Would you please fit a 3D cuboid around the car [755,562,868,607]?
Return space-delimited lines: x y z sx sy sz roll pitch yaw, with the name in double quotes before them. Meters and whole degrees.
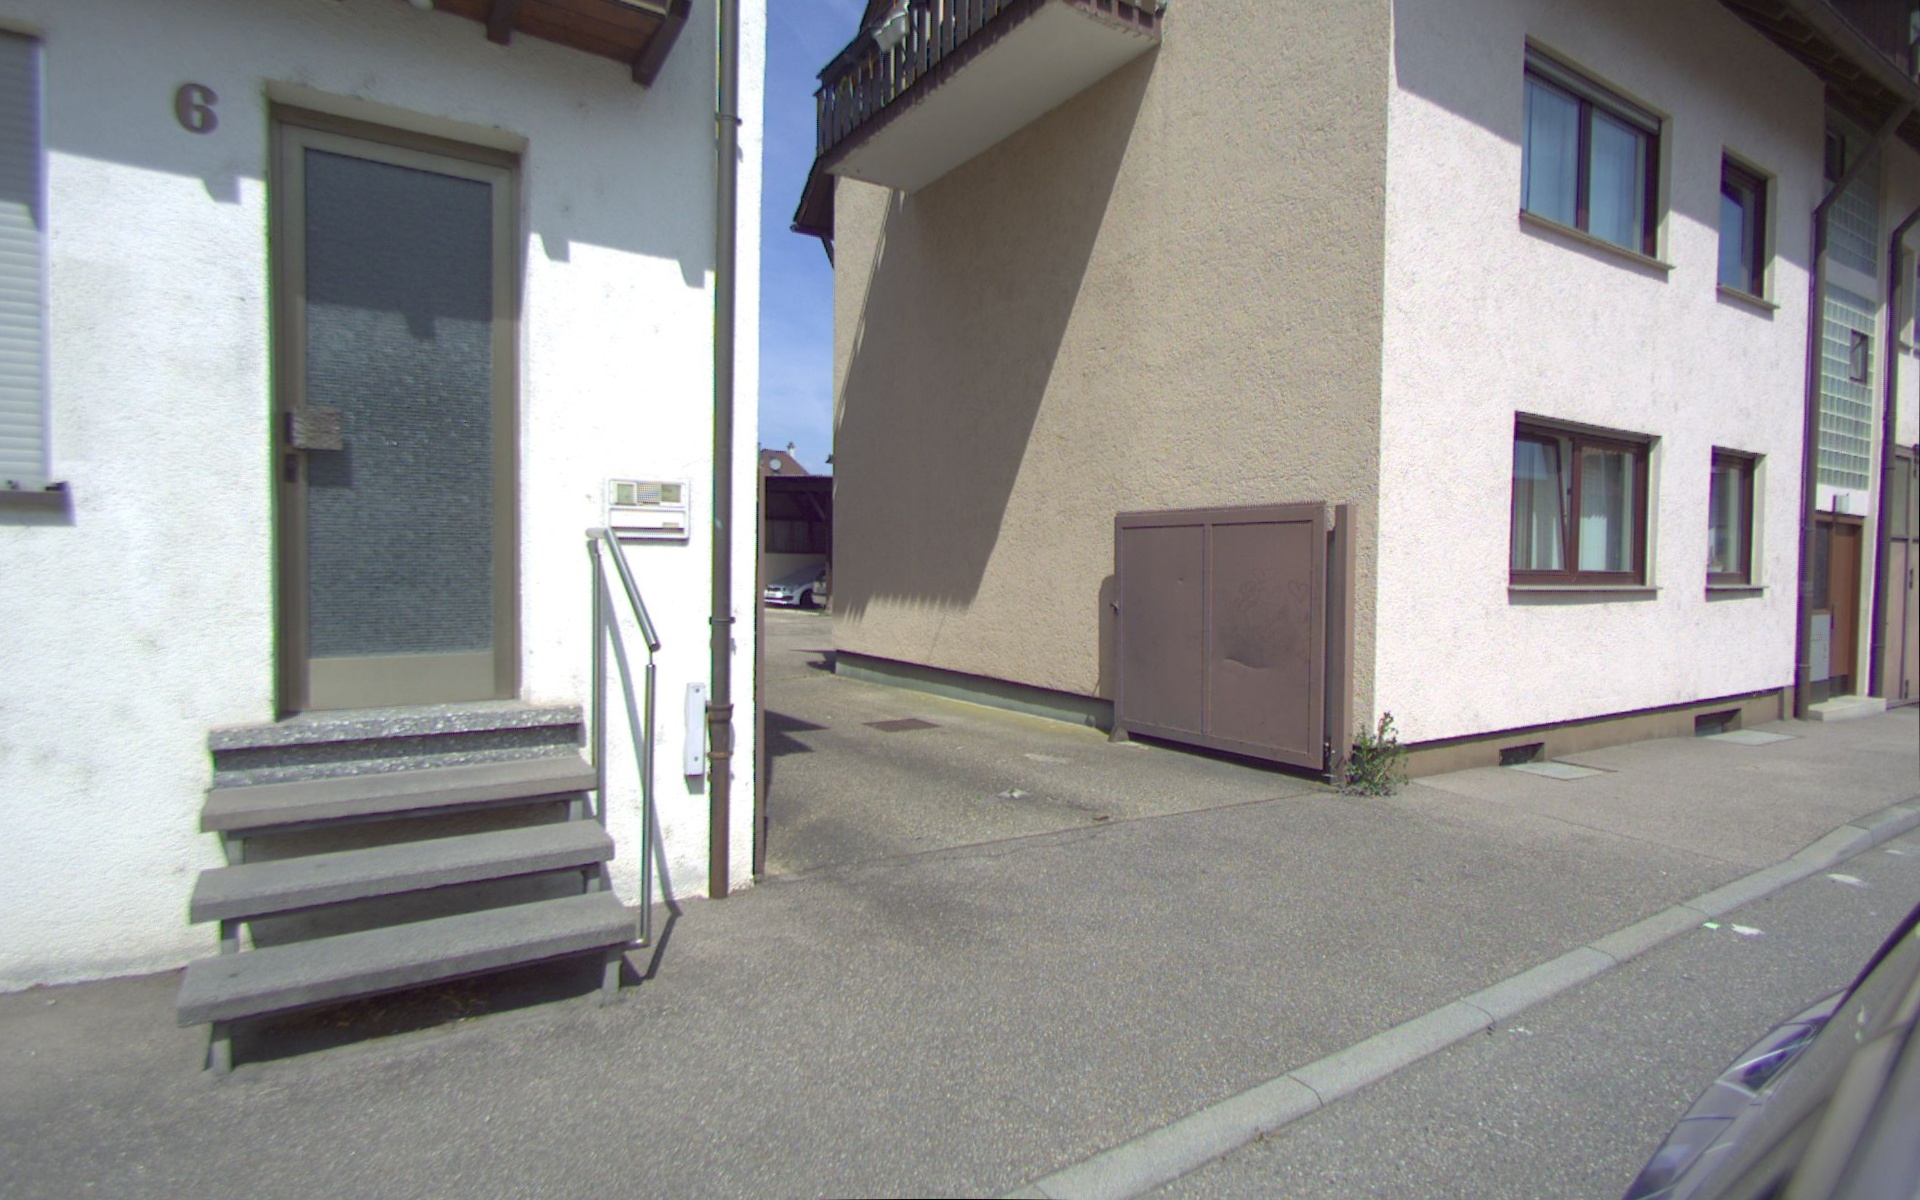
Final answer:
"car" -4.815 -0.505 32.982 3.223 1.358 1.756 0 2 -41
